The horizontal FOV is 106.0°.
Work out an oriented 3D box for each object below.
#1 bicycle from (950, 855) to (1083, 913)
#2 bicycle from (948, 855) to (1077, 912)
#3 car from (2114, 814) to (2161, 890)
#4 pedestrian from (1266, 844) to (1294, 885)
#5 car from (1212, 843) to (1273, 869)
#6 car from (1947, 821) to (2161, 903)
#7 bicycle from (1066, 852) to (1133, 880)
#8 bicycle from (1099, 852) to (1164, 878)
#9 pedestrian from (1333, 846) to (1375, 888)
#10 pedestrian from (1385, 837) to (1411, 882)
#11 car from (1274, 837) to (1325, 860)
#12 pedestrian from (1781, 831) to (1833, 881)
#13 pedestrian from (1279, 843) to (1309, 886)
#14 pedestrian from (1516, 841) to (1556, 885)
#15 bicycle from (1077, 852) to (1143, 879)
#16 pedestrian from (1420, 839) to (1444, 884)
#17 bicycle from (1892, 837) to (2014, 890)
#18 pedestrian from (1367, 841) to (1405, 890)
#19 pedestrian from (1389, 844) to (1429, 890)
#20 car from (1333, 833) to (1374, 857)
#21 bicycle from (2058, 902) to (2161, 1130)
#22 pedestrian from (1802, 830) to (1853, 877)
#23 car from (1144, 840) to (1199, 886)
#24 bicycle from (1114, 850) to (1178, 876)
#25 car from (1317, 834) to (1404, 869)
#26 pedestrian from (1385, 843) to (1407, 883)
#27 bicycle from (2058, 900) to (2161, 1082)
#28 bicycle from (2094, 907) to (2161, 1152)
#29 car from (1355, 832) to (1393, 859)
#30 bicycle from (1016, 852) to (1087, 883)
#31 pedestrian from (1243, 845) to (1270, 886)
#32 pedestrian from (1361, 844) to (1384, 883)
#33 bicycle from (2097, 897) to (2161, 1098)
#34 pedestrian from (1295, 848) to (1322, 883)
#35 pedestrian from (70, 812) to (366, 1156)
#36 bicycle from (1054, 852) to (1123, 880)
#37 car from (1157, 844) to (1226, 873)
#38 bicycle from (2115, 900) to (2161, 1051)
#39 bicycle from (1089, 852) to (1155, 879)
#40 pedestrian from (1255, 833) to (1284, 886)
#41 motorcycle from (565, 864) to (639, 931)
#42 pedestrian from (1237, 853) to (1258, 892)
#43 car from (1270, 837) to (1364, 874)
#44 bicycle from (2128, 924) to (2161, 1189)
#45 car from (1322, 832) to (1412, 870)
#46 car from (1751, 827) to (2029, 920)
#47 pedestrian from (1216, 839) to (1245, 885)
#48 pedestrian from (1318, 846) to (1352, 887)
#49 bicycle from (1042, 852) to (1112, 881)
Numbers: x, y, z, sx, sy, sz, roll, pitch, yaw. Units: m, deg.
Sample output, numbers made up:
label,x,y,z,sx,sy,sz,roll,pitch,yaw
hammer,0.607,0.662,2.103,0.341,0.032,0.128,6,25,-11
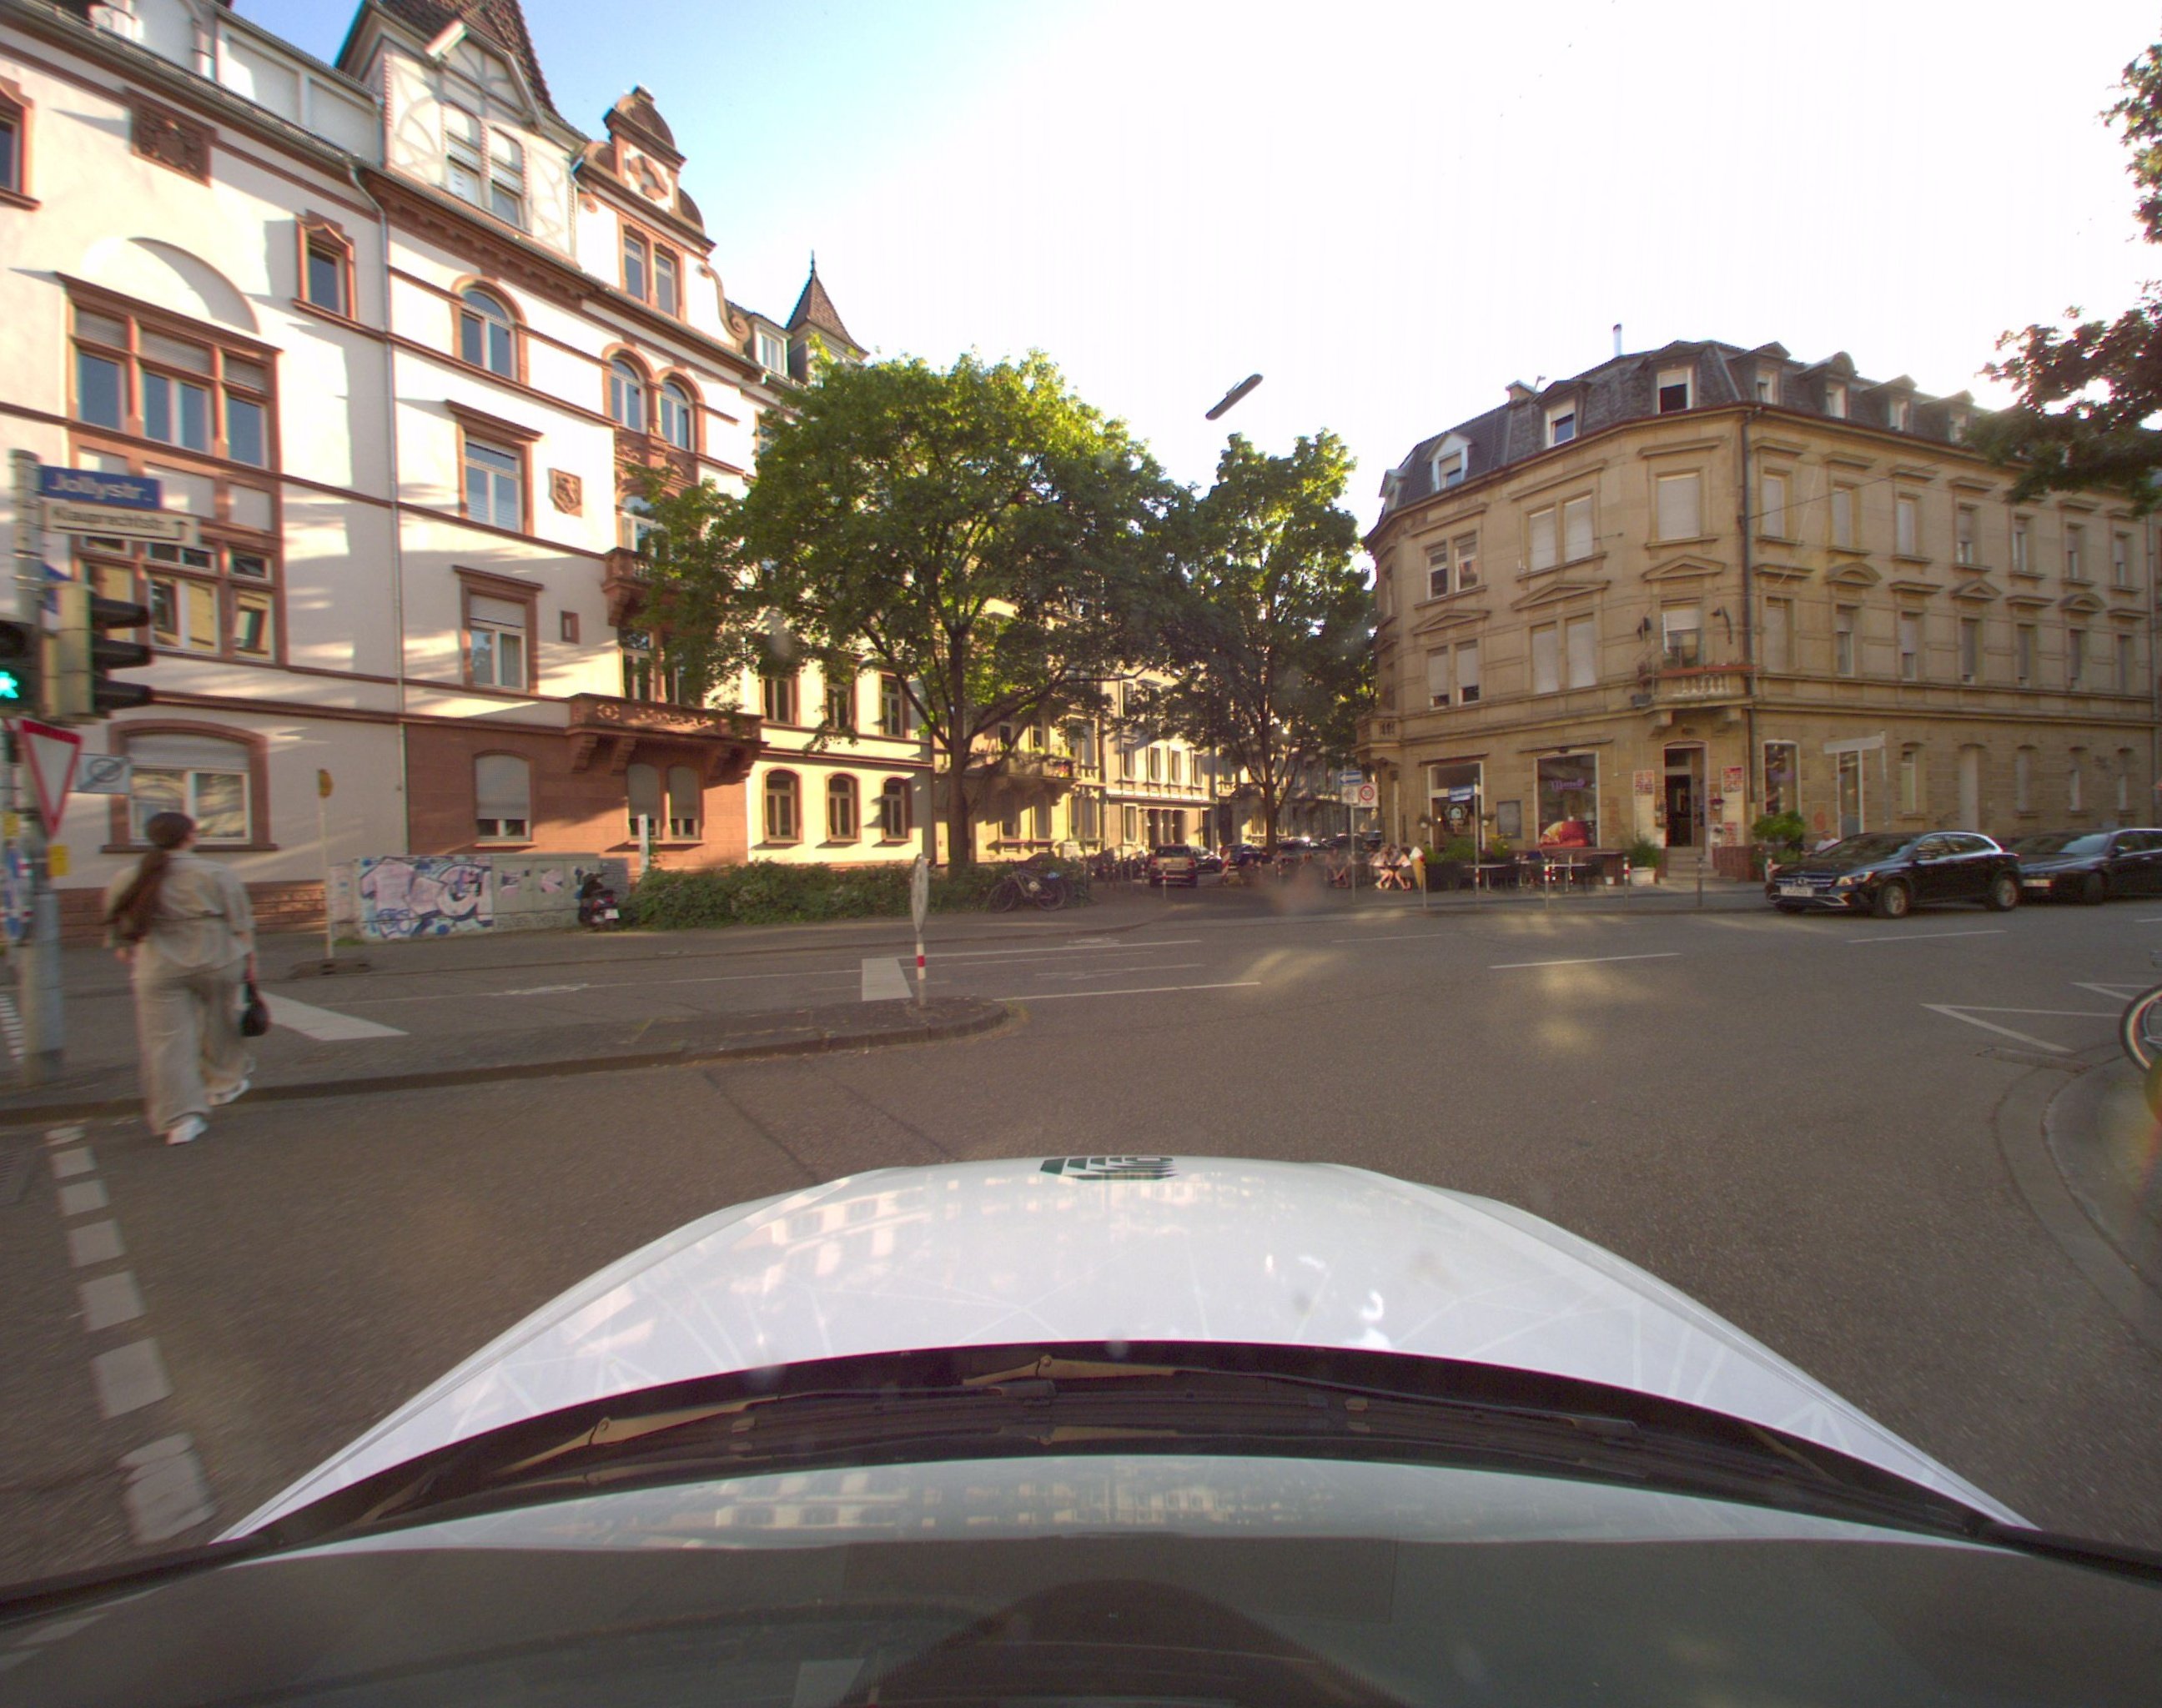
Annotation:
label,x,y,z,sx,sy,sz,roll,pitch,yaw
bicycle,-1.468,0.664,18.641,2.953,1.196,0.545,-2,0,-14
bicycle,-1.608,0.674,19.217,2.953,1.196,0.545,-2,0,-14
car,24.936,-0.125,17.447,4.542,1.600,1.756,-2,0,-14
pedestrian,7.183,0.370,29.400,0.763,1.442,0.667,-2,-1,-6
car,9.215,0.112,46.306,1.904,1.376,3.776,-1,0,38
car,20.071,0.122,16.249,4.540,1.451,1.756,-2,-1,-13
bicycle,0.795,0.526,35.996,3.096,1.180,0.757,-1,0,37
bicycle,2.348,0.532,37.979,3.096,1.180,0.757,-1,0,37
pedestrian,8.493,0.389,25.370,0.749,1.248,1.017,-2,1,-21
pedestrian,10.491,0.183,26.938,0.483,1.431,0.564,-3,0,-29
car,14.458,-0.380,53.858,1.904,1.376,3.776,-1,0,38
pedestrian,18.649,0.050,20.926,0.757,1.259,0.723,-2,0,-20
pedestrian,7.416,0.362,28.397,0.763,1.442,0.667,-2,-1,-6
pedestrian,12.989,0.239,23.251,0.760,1.213,0.719,-2,0,-37
bicycle,1.280,0.527,36.654,3.096,1.180,0.757,-1,0,37
pedestrian,10.885,0.223,25.265,0.435,1.367,0.478,-3,0,-26
bicycle,19.788,0.178,18.535,0.528,1.128,1.864,-1,2,-15
pedestrian,9.077,0.326,24.261,0.730,1.411,0.749,-2,0,-30
pedestrian,9.475,0.371,23.533,0.745,1.289,0.739,-2,0,-28
car,20.765,-0.689,62.038,1.789,1.684,3.776,-1,0,38
bicycle,6.072,0.767,3.751,1.911,1.094,0.428,-4,-3,33
pedestrian,19.683,-0.016,21.478,0.757,1.213,0.723,-2,0,-20
car,3.625,0.320,32.227,1.983,1.684,4.008,-2,0,7
bicycle,3.083,0.446,38.864,3.096,1.180,0.757,-1,0,37
car,14.247,-0.123,41.654,3.961,1.684,2.006,-1,0,11
pedestrian,10.108,0.293,26.133,0.434,1.248,0.479,-2,0,-20
bicycle,7.095,0.782,4.588,1.911,1.052,0.506,-4,-3,35
bicycle,5.826,0.767,3.395,1.911,1.094,0.428,-4,-3,33
car,23.941,-0.736,66.384,1.789,2.085,3.776,-1,0,38
bicycle,-1.235,0.564,33.345,3.096,1.180,0.757,-1,0,37
pedestrian,6.351,0.412,29.482,0.763,1.412,0.667,-2,-1,-4
pedestrian,9.664,0.302,27.019,0.510,1.248,0.479,-2,0,-20
bicycle,6.823,0.757,4.178,1.911,1.094,0.428,-4,-3,35
pedestrian,8.100,0.399,28.964,0.675,1.215,0.666,-2,-1,-8
pedestrian,-4.859,0.643,4.617,0.972,1.697,0.875,-1,0,27
bicycle,0.295,0.524,35.325,3.096,1.180,0.757,-1,0,37
car,5.781,0.205,42.287,1.904,1.376,3.776,-1,0,38
bicycle,7.909,0.779,4.969,0.499,0.988,1.913,0,-3,-40
bicycle,1.838,0.529,37.297,3.096,1.180,0.757,-1,0,37
pedestrian,6.493,0.181,28.104,0.763,1.770,0.571,-2,-1,-6
motorcycle,-9.851,0.855,16.713,0.848,1.265,2.085,-2,0,-43
pedestrian,5.845,0.632,28.616,0.570,1.320,0.504,-2,0,-8
car,10.543,0.059,36.670,3.804,1.562,1.807,-1,0,6
bicycle,5.148,0.811,3.090,1.463,1.094,0.426,-2,-3,12
car,13.699,-0.158,38.986,3.953,1.684,2.011,-1,0,21
car,14.907,0.317,15.060,4.131,1.488,1.756,-2,-1,-14
pedestrian,5.567,0.302,30.364,0.767,1.670,0.663,-2,-1,-20
pedestrian,8.173,0.399,26.216,0.749,1.248,0.702,-2,1,-20
bicycle,-0.199,0.525,34.701,3.096,1.180,0.757,-1,0,37
